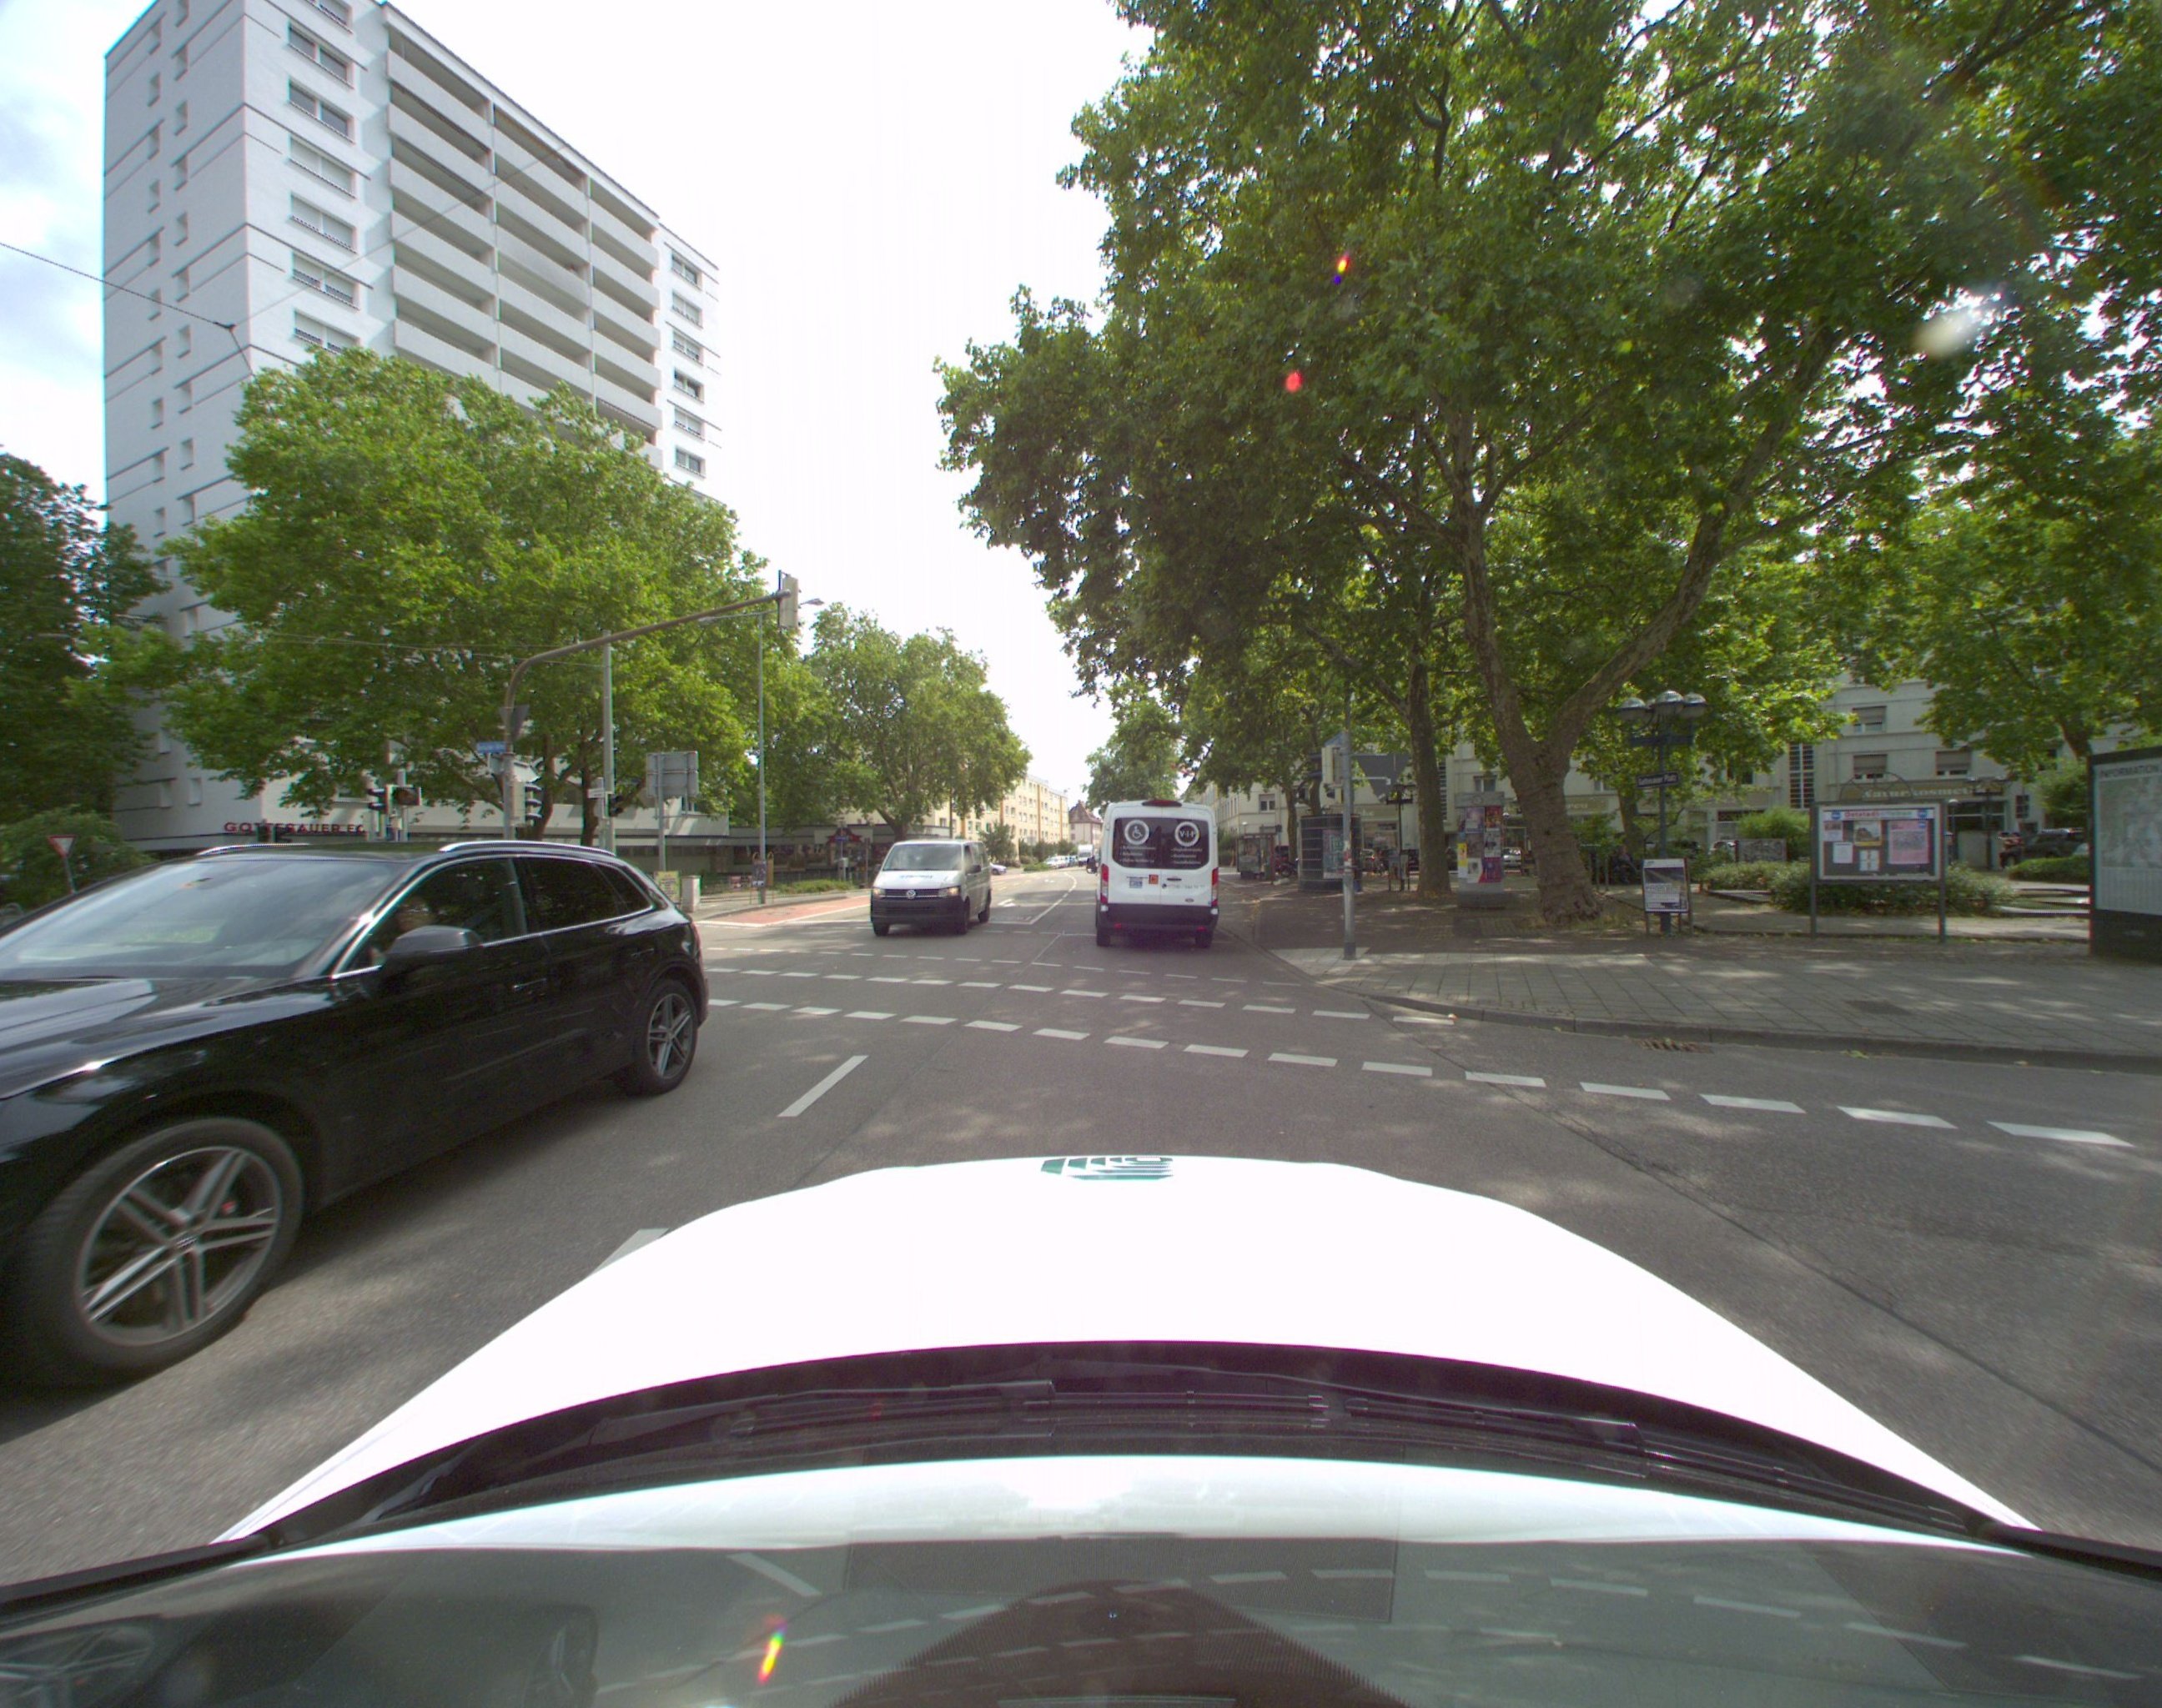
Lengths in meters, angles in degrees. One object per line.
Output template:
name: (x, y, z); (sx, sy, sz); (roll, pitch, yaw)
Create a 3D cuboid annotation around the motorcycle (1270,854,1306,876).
motorcycle: (11.611, 0.613, 45.717); (1.849, 1.222, 0.530); (-1, 0, -2)

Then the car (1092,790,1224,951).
car: (1.373, 0.277, 15.376); (2.061, 2.540, 4.639); (1, 0, 3)

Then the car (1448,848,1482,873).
car: (26.286, 0.431, 55.814); (1.976, 1.591, 4.218); (-1, 0, 24)

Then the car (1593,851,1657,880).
car: (29.147, 0.592, 43.776); (1.976, 1.464, 4.021); (-2, -1, 21)

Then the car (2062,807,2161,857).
car: (41.336, -0.871, 31.221); (4.279, 1.816, 2.012); (-2, 0, 25)

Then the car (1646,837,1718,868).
car: (31.267, -0.075, 42.494); (1.976, 1.464, 4.021); (-2, -1, 21)

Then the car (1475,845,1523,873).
car: (23.763, 0.277, 46.384); (1.976, 1.464, 4.021); (-2, -1, 21)

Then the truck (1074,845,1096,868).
truck: (0.597, 0.358, 116.890); (2.529, 3.107, 7.029); (-3, -1, 5)

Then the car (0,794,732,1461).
car: (-3.557, 0.679, 3.883); (1.816, 1.647, 4.428); (-1, 0, 1)

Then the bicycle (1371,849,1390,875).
bicycle: (16.099, 0.425, 43.740); (0.415, 1.378, 2.326); (-2, -1, 33)

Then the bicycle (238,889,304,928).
bicycle: (-25.157, 1.694, 25.281); (1.948, 1.094, 0.630); (-3, 0, 19)

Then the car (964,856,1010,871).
car: (-9.219, 0.936, 80.183); (4.151, 1.451, 1.852); (1, -1, 5)

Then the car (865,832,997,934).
car: (-3.112, 0.549, 18.006); (1.917, 1.936, 4.948); (-1, 0, 1)

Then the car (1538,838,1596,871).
car: (26.714, 0.034, 44.897); (1.976, 1.695, 4.584); (-2, -1, 21)

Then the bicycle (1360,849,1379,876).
bicycle: (15.657, 0.430, 44.193); (0.415, 1.378, 2.326); (-2, 0, 33)

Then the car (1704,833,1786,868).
car: (33.563, -0.166, 41.333); (1.976, 1.618, 4.226); (-2, -1, 21)

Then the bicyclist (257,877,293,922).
bicyclist: (-24.952, 1.414, 25.206); (0.744, 1.342, 0.494); (-3, 0, 21)

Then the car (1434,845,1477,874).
car: (21.663, 0.298, 47.214); (1.976, 1.599, 4.021); (-2, -1, 21)

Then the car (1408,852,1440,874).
car: (24.090, 0.599, 57.206); (1.976, 1.487, 4.218); (-1, 0, 24)

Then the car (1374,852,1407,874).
car: (22.082, 0.618, 57.955); (1.976, 1.504, 4.218); (-1, 0, 24)

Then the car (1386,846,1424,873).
car: (18.972, 0.314, 47.735); (1.976, 1.464, 4.021); (-2, -1, 21)

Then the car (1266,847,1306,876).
car: (12.929, 0.458, 51.094); (1.916, 1.706, 4.353); (-2, -1, 21)

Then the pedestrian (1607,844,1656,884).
pedestrian: (17.337, 0.312, 25.674); (1.085, 1.213, 1.147); (-2, -1, 26)

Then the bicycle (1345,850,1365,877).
bicycle: (14.933, 0.490, 44.363); (0.415, 1.378, 2.326); (-2, 0, 33)

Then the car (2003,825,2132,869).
car: (44.055, -0.287, 36.524); (1.895, 1.816, 4.020); (-2, -1, 20)

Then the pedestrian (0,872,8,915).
pedestrian: (-42.062, 1.544, 31.370); (0.676, 1.636, 0.700); (-2, 0, 22)
